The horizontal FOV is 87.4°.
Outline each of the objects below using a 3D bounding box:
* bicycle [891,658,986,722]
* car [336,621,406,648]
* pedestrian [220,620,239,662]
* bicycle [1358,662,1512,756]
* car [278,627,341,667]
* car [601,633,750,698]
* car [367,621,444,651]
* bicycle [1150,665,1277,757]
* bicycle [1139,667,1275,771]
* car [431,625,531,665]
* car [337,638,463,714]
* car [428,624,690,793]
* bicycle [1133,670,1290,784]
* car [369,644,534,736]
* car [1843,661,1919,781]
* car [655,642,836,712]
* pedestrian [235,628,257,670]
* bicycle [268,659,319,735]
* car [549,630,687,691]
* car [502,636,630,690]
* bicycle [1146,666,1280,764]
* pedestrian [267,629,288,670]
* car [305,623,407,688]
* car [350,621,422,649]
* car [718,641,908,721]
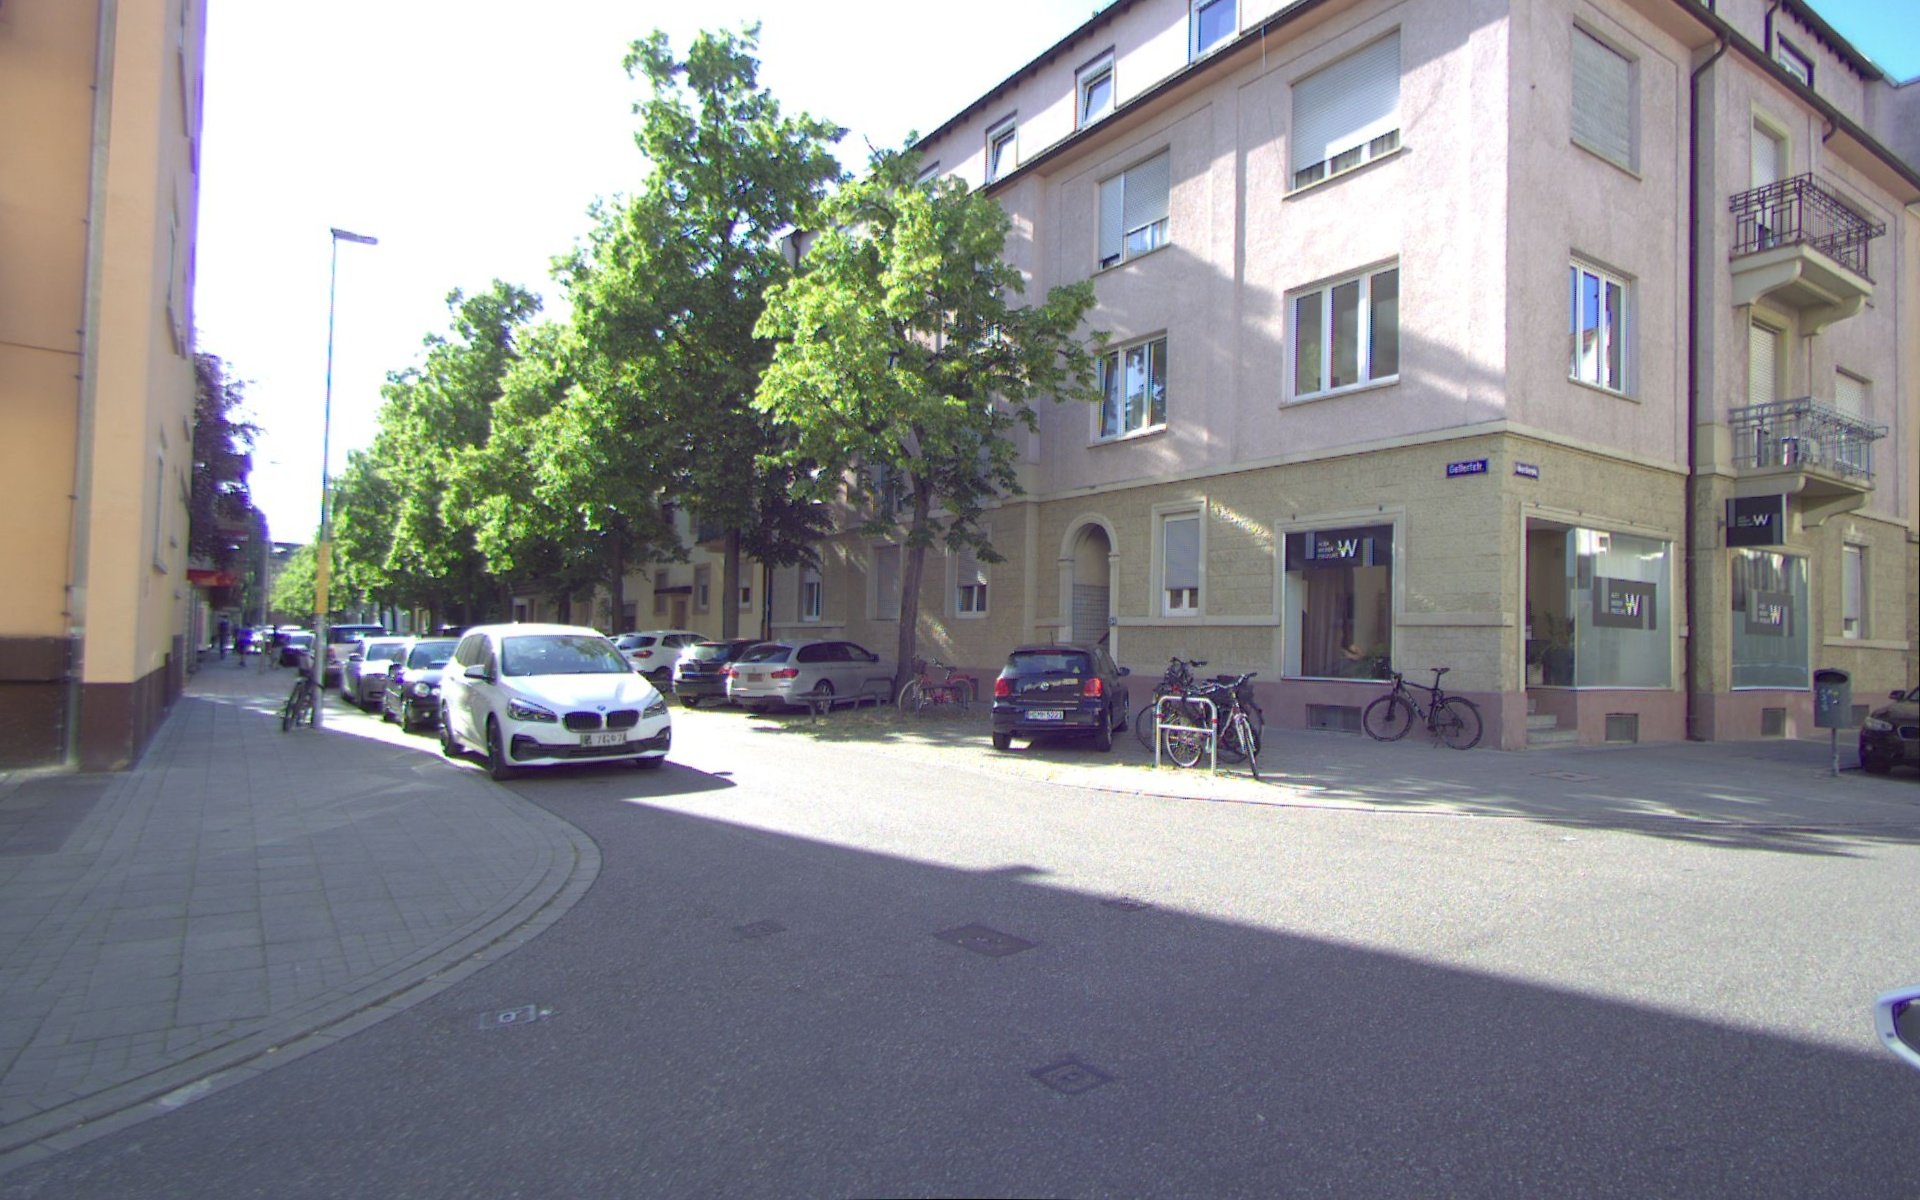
[{"bbox_3d":[-0.385,1.658,18.843,1.877,1.078,0.499,1,0,-40],"label":"bicycle"},{"bbox_3d":[-38.492,2.256,65.652,1.680,1.690,3.591,0,-2,41],"label":"car"},{"bbox_3d":[-33.904,1.915,46.627,0.655,1.928,0.521,3,-3,-36],"label":"pedestrian"},{"bbox_3d":[6.639,1.487,14.125,0.642,1.150,1.884,1,-1,-38],"label":"bicycle"},{"bbox_3d":[-30.547,2.169,47.131,2.090,1.789,4.462,2,-3,-38],"label":"car"},{"bbox_3d":[-7.714,1.740,27.478,1.680,1.630,3.591,0,-2,41],"label":"car"},{"bbox_3d":[-32.440,2.128,58.859,1.680,1.690,3.591,0,-2,41],"label":"car"},{"bbox_3d":[3.539,1.524,14.186,0.520,1.150,1.887,1,-2,-33],"label":"bicycle"},{"bbox_3d":[3.094,1.460,12.778,0.520,1.150,1.890,1,-2,-29],"label":"bicycle"},{"bbox_3d":[-20.985,1.951,44.063,1.680,1.690,3.591,0,-2,41],"label":"car"},{"bbox_3d":[-11.978,1.539,21.351,1.712,1.422,4.166,2,-3,-38],"label":"car"},{"bbox_3d":[-4.911,1.123,11.911,1.712,1.613,4.400,2,-3,-38],"label":"car"},{"bbox_3d":[2.874,1.421,11.699,0.640,1.150,1.890,1,-2,-30],"label":"bicycle"},{"bbox_3d":[-8.722,1.434,17.058,1.712,1.327,4.166,2,-3,-38],"label":"car"},{"bbox_3d":[13.802,1.643,13.467,4.224,1.445,1.671,4,-1,-30],"label":"car"},{"bbox_3d":[-4.799,1.716,23.077,1.674,1.445,4.208,0,-3,30],"label":"car"},{"bbox_3d":[-28.976,1.993,40.768,0.655,1.662,0.521,3,-3,-36],"label":"pedestrian"},{"bbox_3d":[-9.313,1.338,14.074,0.395,0.978,1.683,6,-5,-29],"label":"bicycle"},{"bbox_3d":[-10.285,1.786,30.352,1.680,1.690,3.591,0,-2,41],"label":"car"},{"bbox_3d":[-13.102,2.049,33.521,1.680,1.690,3.591,0,-2,41],"label":"car"},{"bbox_3d":[3.328,1.489,13.389,0.520,1.150,1.887,1,-2,-33],"label":"bicycle"},{"bbox_3d":[-28.083,2.040,41.312,0.655,1.662,0.521,3,-3,-36],"label":"pedestrian"},{"bbox_3d":[-18.209,1.618,30.204,2.090,1.789,4.462,2,-3,-38],"label":"car"},{"bbox_3d":[-36.047,2.171,63.157,1.680,1.690,3.591,0,-2,41],"label":"car"},{"bbox_3d":[-2.914,1.614,20.879,1.674,1.457,4.208,0,-3,30],"label":"car"}]
